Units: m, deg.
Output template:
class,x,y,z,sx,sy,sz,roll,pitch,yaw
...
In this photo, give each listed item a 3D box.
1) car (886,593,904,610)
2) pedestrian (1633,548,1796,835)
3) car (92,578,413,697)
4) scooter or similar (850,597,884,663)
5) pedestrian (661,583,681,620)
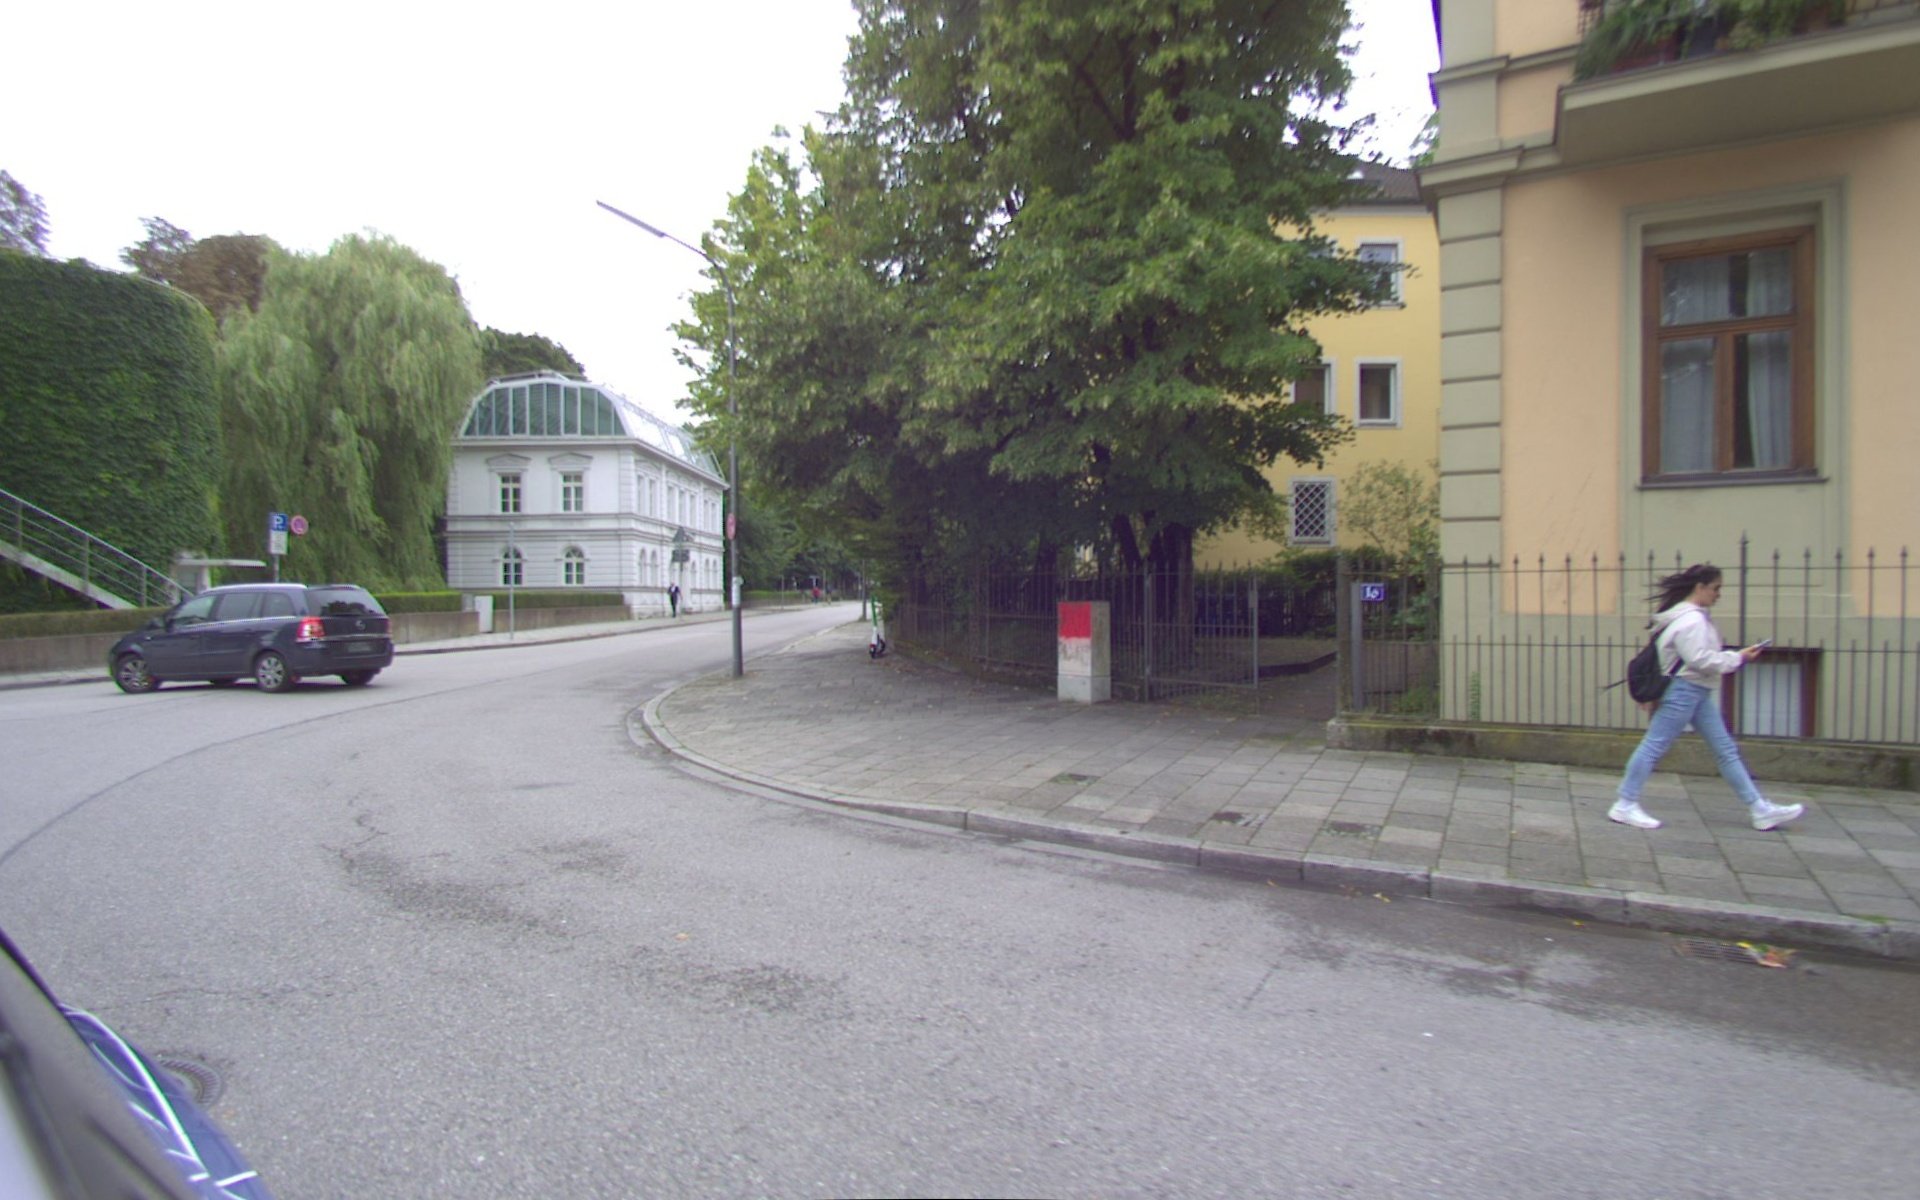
class,x,y,z,sx,sy,sz,roll,pitch,yaw
car,-8.053,0.152,125.841,1.972,2.029,4.000,-1,1,0
pedestrian,4.559,0.511,6.168,0.738,1.615,0.648,-1,1,34
car,-11.168,0.533,16.045,4.297,1.706,1.989,0,0,17
scooter or similar,-1.781,0.557,19.575,0.387,1.198,1.419,-5,0,2
pedestrian,-13.721,0.051,48.055,0.670,1.718,0.768,3,1,0
